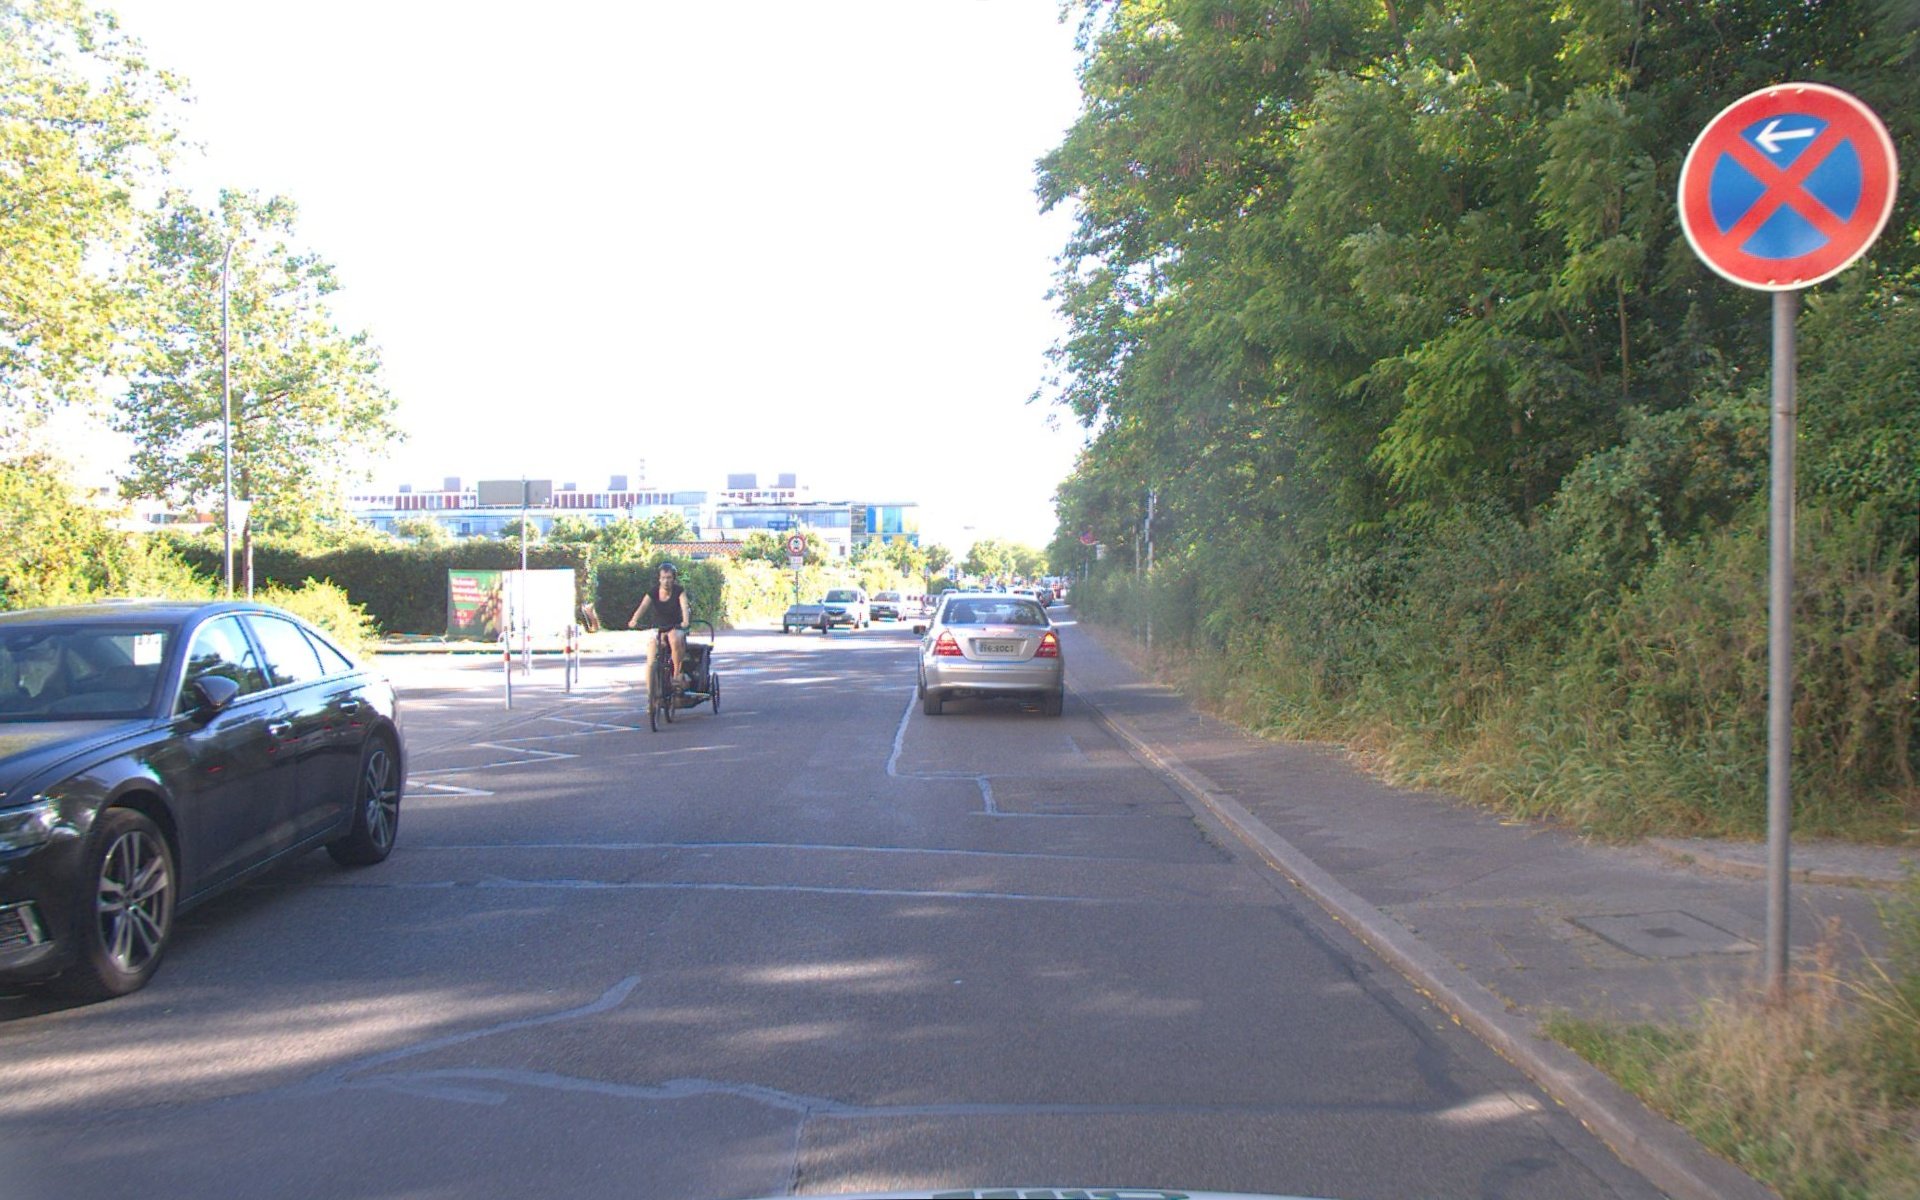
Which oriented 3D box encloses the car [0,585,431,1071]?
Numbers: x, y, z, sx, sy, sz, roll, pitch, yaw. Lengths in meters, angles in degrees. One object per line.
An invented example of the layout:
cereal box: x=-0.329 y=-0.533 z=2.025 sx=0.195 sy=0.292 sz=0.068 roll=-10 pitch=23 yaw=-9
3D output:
car: x=-3.974 y=0.733 z=7.557 sx=1.693 sy=1.489 sz=4.681 roll=-2 pitch=1 yaw=-2

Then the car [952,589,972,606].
car: x=0.213 y=-0.245 z=149.023 sx=1.527 sy=1.521 sz=3.572 roll=2 pitch=0 yaw=3

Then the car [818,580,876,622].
car: x=-4.496 y=0.024 z=66.272 sx=1.609 sy=1.628 sz=4.314 roll=1 pitch=0 yaw=5

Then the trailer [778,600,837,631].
trailer: x=-5.146 y=0.513 z=56.147 sx=1.511 sy=0.970 sz=2.649 roll=1 pitch=0 yaw=6

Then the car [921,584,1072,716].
car: x=0.367 y=0.553 z=20.690 sx=1.702 sy=1.478 sz=3.999 roll=0 pitch=0 yaw=-1

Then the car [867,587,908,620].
car: x=-3.653 y=0.172 z=83.865 sx=1.609 sy=1.583 sz=4.419 roll=-1 pitch=0 yaw=3

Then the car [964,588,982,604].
car: x=1.302 y=-0.389 z=166.041 sx=1.527 sy=1.521 sz=3.760 roll=-1 pitch=0 yaw=3

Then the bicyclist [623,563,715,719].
bicyclist: x=-3.227 y=0.441 z=18.434 sx=0.827 sy=1.687 sz=1.064 roll=-1 pitch=0 yaw=-1

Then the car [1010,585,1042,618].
car: x=3.347 y=0.056 z=83.723 sx=1.523 sy=1.565 sz=3.557 roll=1 pitch=0 yaw=3

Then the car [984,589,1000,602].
car: x=3.796 y=-0.513 z=195.288 sx=1.815 sy=1.453 sz=4.136 roll=1 pitch=0 yaw=3

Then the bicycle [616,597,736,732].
bicycle: x=-3.200 y=0.675 z=18.971 sx=0.833 sy=1.394 sz=3.220 roll=-1 pitch=0 yaw=-1

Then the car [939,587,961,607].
car: x=-0.779 y=-0.223 z=130.904 sx=1.527 sy=1.521 sz=3.572 roll=-1 pitch=0 yaw=3
